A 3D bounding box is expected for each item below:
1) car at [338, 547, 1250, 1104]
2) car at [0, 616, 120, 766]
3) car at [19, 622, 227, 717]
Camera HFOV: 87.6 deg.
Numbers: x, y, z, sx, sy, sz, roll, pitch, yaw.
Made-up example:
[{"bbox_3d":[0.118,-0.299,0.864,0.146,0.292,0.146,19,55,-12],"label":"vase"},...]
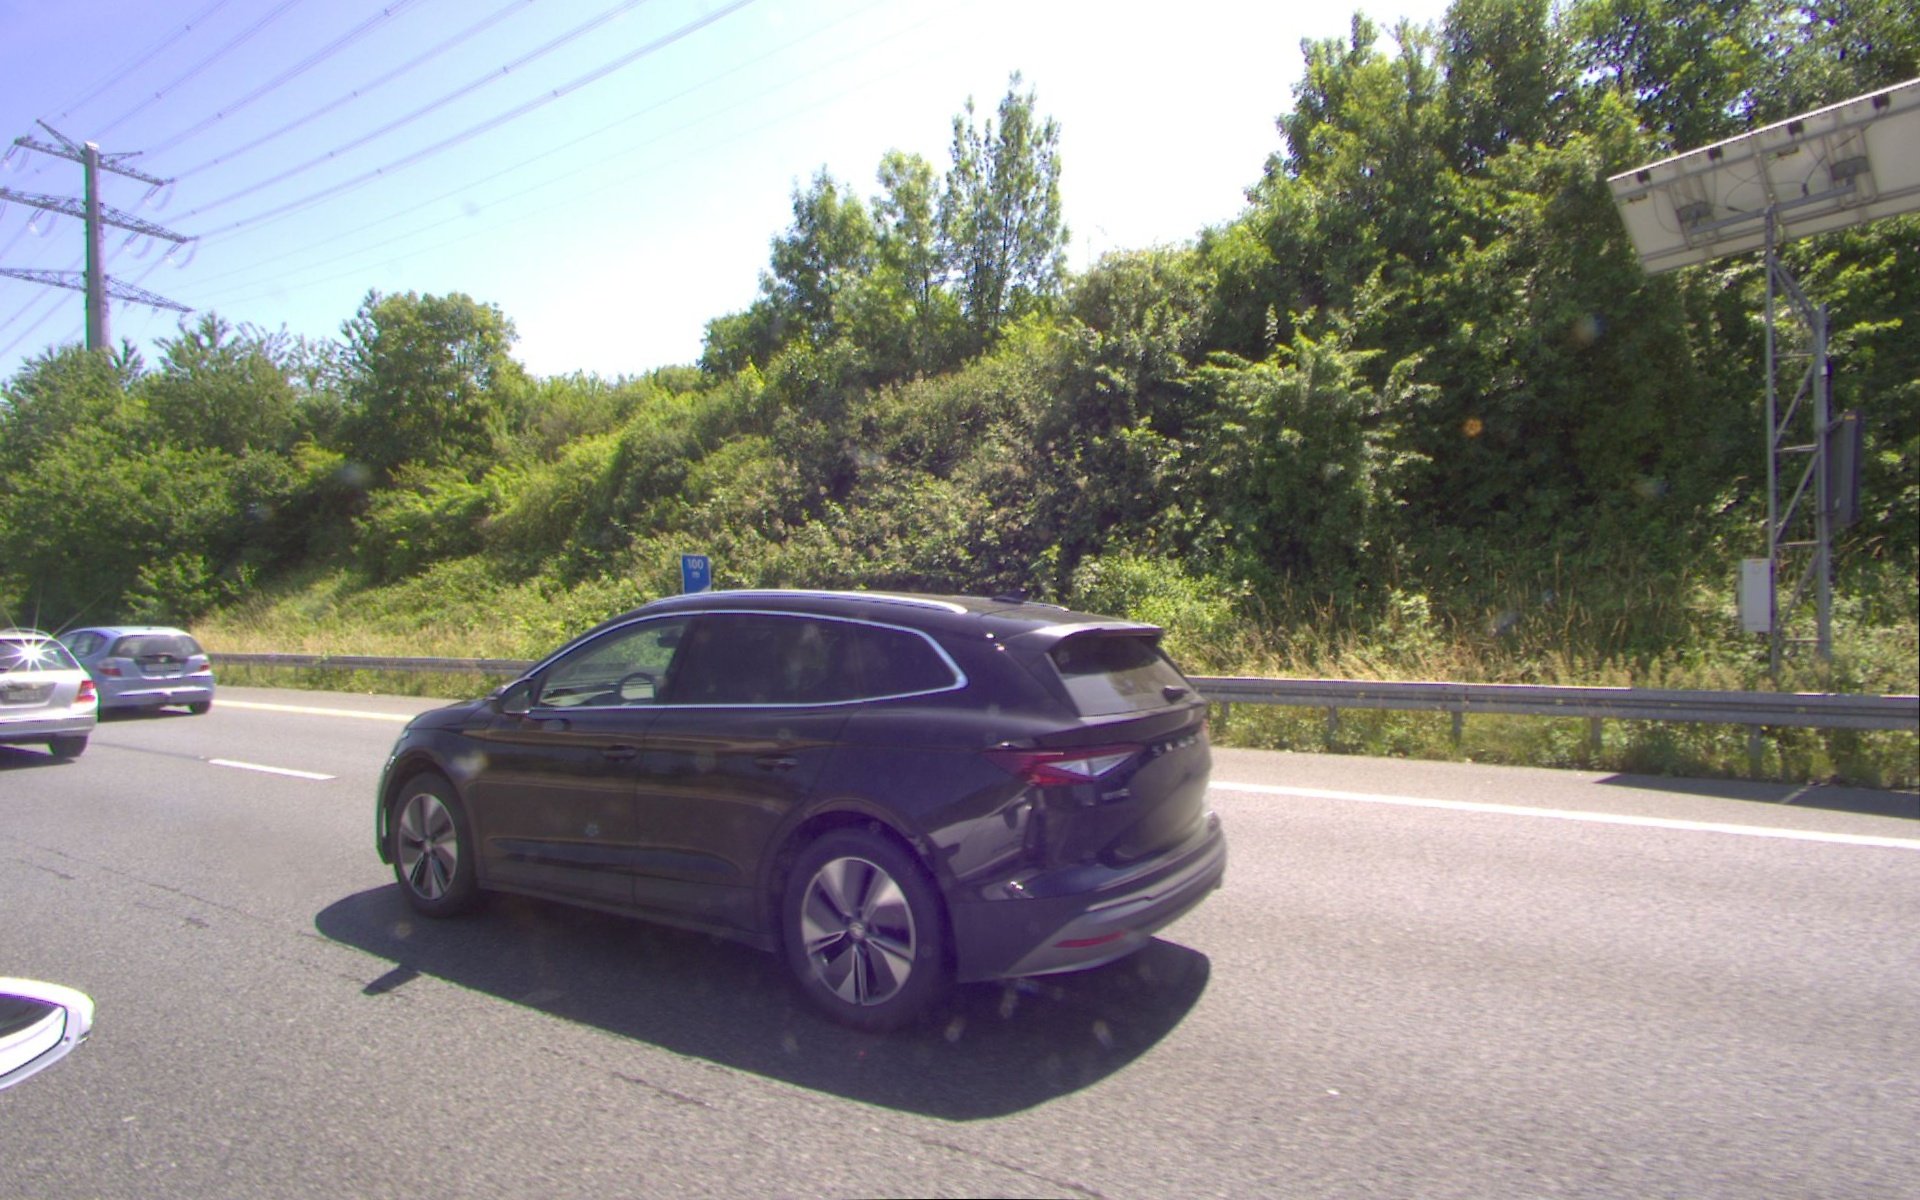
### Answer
[{"bbox_3d":[-0.996,0.744,4.899,4.365,1.676,1.698,-1,-2,31],"label":"car"},{"bbox_3d":[-11.573,0.971,11.434,4.297,1.537,1.768,-1,-2,32],"label":"car"},{"bbox_3d":[-14.403,1.135,17.197,3.734,1.466,1.698,-1,-2,32],"label":"car"}]
